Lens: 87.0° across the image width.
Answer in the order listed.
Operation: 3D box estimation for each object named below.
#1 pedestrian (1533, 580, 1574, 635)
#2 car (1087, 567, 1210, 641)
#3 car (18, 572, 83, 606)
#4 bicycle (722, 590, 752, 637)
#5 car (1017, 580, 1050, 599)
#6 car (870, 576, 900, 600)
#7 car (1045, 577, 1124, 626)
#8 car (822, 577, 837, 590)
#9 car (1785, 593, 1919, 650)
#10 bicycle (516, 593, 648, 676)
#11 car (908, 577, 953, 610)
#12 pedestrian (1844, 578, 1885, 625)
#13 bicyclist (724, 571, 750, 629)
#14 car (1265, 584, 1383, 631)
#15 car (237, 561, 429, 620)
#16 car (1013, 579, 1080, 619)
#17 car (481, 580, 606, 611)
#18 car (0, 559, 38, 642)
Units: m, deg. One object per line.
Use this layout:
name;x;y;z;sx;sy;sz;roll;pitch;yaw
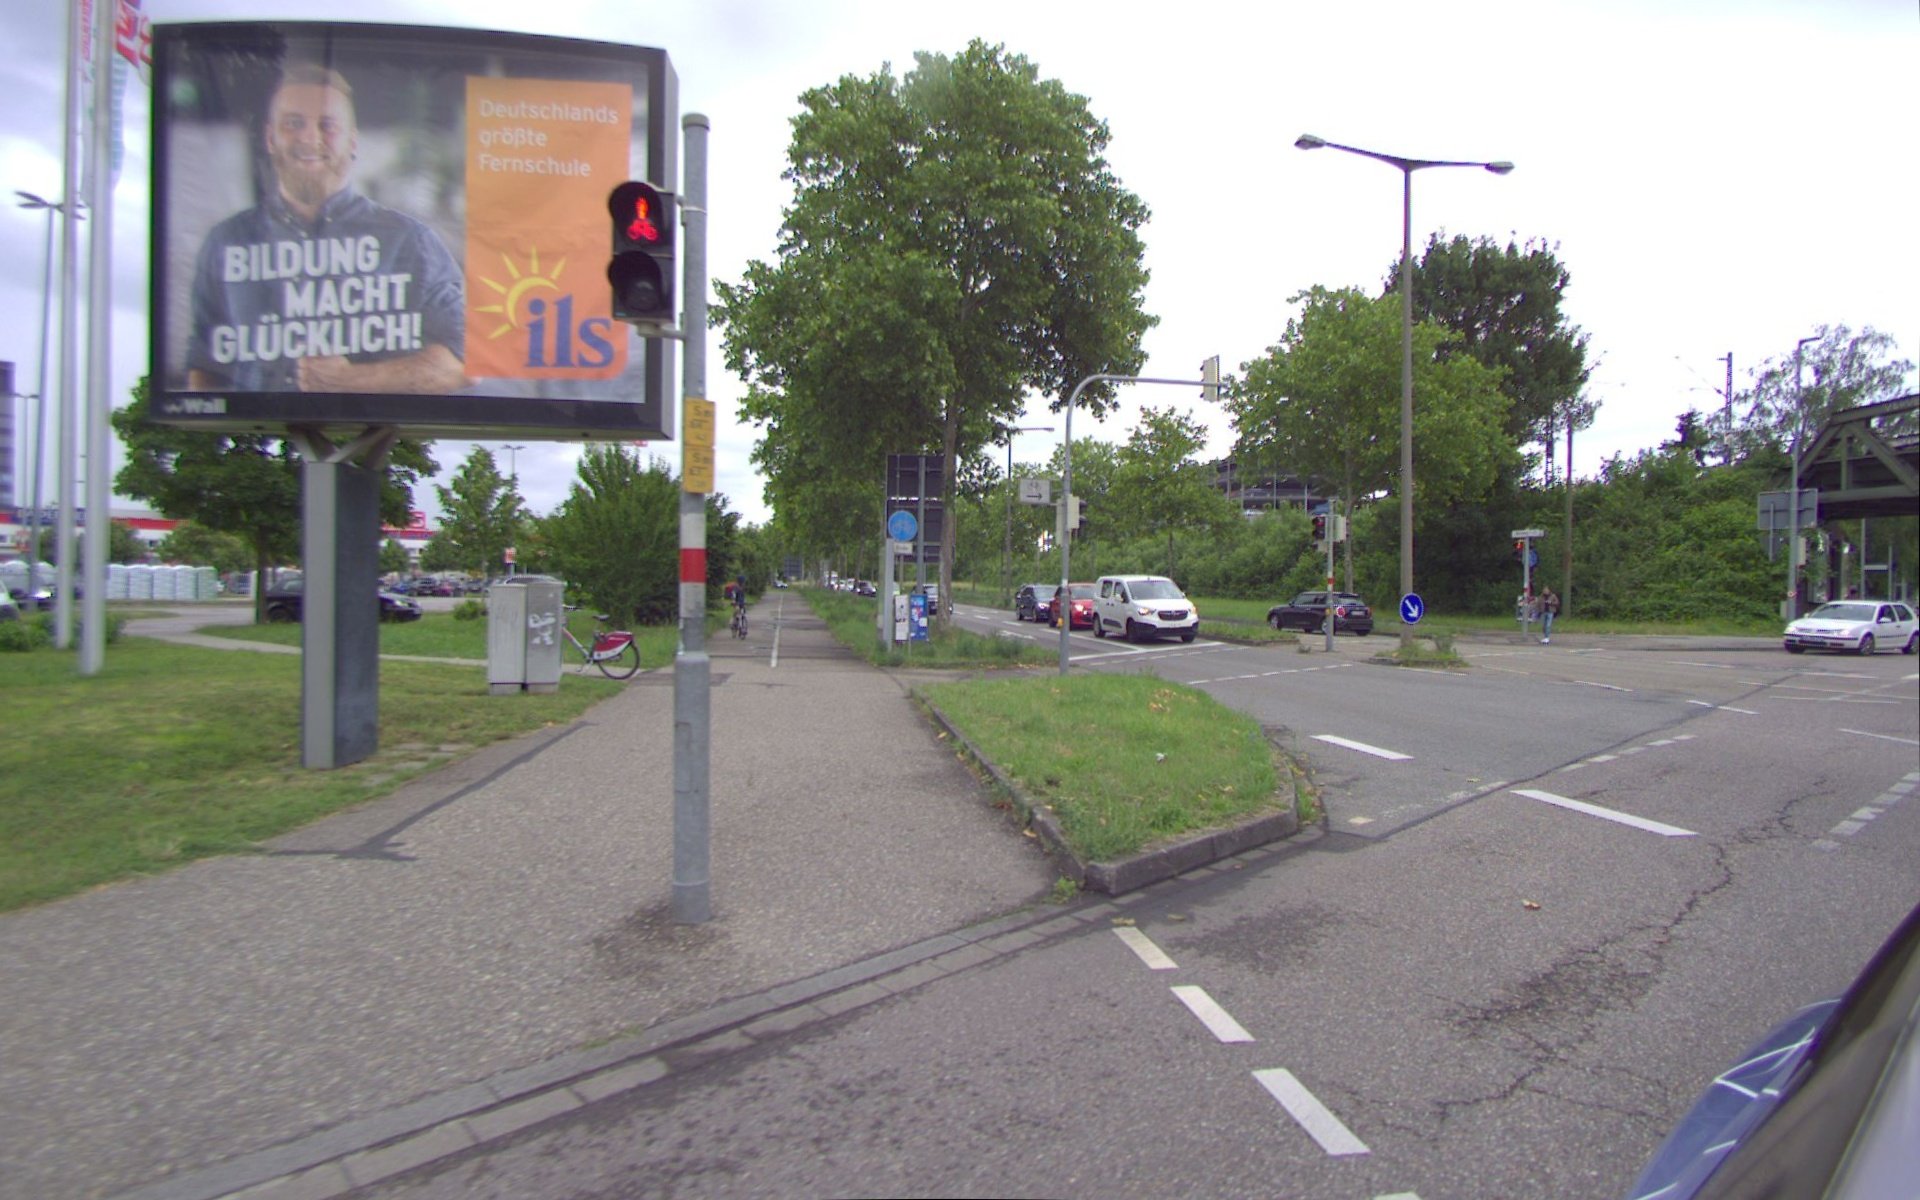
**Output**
pedestrian;18.360;0.218;31.324;0.762;1.660;0.746;0;0;-17
car;5.143;0.041;28.253;1.841;1.851;4.430;-1;1;-11
car;-48.827;-0.628;54.322;4.550;1.697;2.123;2;2;41
bicycle;-6.001;0.347;27.134;0.570;1.163;1.899;1;1;-18
car;5.383;-0.756;74.515;1.619;1.297;3.424;0;0;-9
car;-5.208;-0.797;69.962;1.749;1.552;4.005;-1;0;-8
car;4.188;0.013;34.597;1.661;1.551;3.695;1;1;-9
car;-15.542;-1.966;120.654;1.749;1.552;4.005;-1;0;-8
car;24.306;0.541;27.135;3.858;1.442;1.731;0;0;-22
bicycle;-5.485;0.488;14.709;1.777;1.132;0.487;1;1;9
car;-1.484;-0.354;49.884;1.661;1.500;4.073;1;1;-9
pedestrian;35.014;0.064;39.175;0.857;1.782;0.788;1;0;-1
bicyclist;-5.966;-0.008;27.041;0.570;1.538;0.761;1;1;-18
car;12.144;0.229;33.992;1.649;1.450;3.782;3;0;-20
car;-17.275;-0.274;28.065;4.148;1.516;1.829;-1;0;-8
car;3.378;-0.084;40.165;1.661;1.500;4.073;1;1;-9
car;-21.126;-0.241;51.526;5.606;1.458;2.160;0;1;-13
car;-19.329;0.036;19.552;4.219;1.516;1.902;-1;0;43
